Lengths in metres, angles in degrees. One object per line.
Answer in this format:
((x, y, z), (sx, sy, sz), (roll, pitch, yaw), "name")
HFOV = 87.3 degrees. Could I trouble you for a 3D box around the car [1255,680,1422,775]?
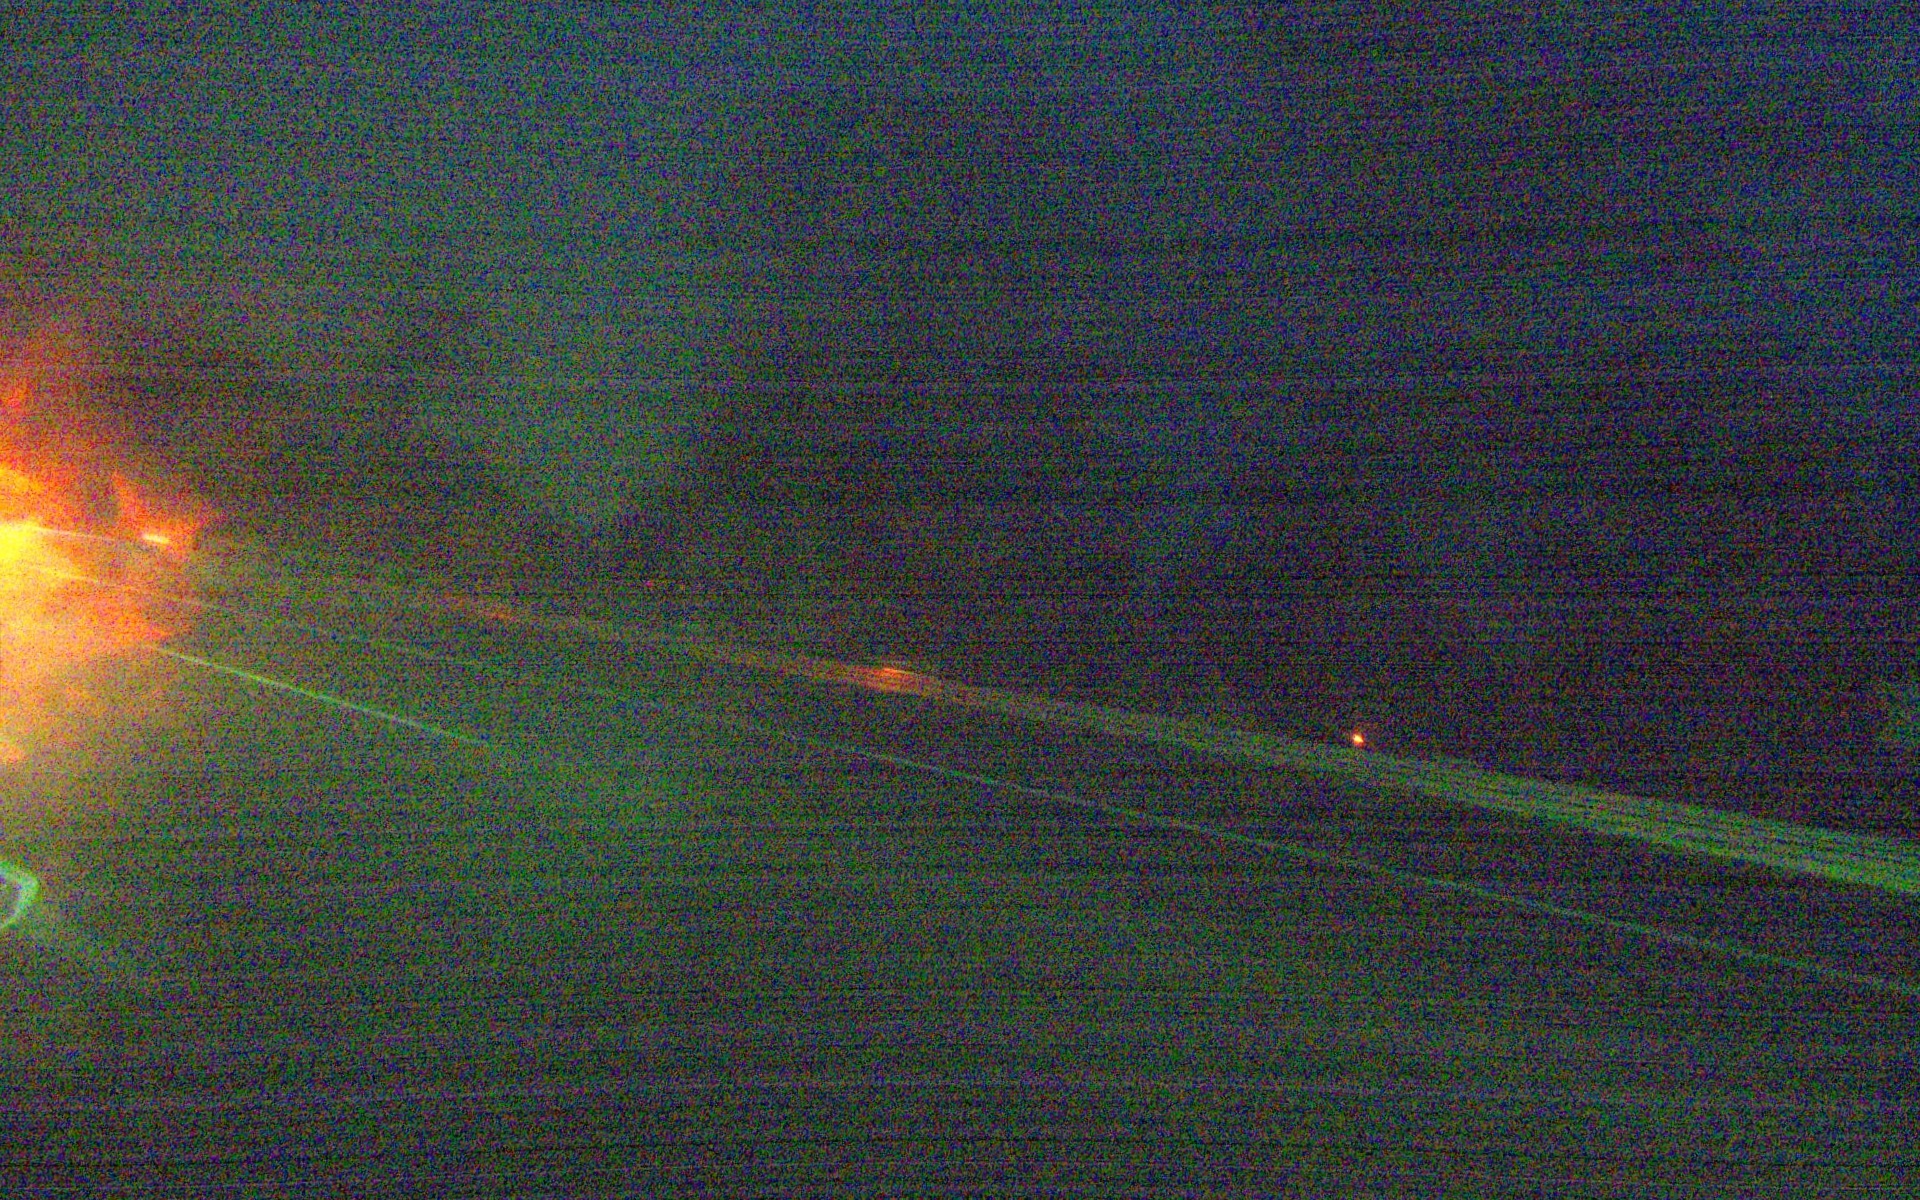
((11.436, 3.833, 30.511), (2.230, 2.034, 3.951), (13, -4, -43), "car")
